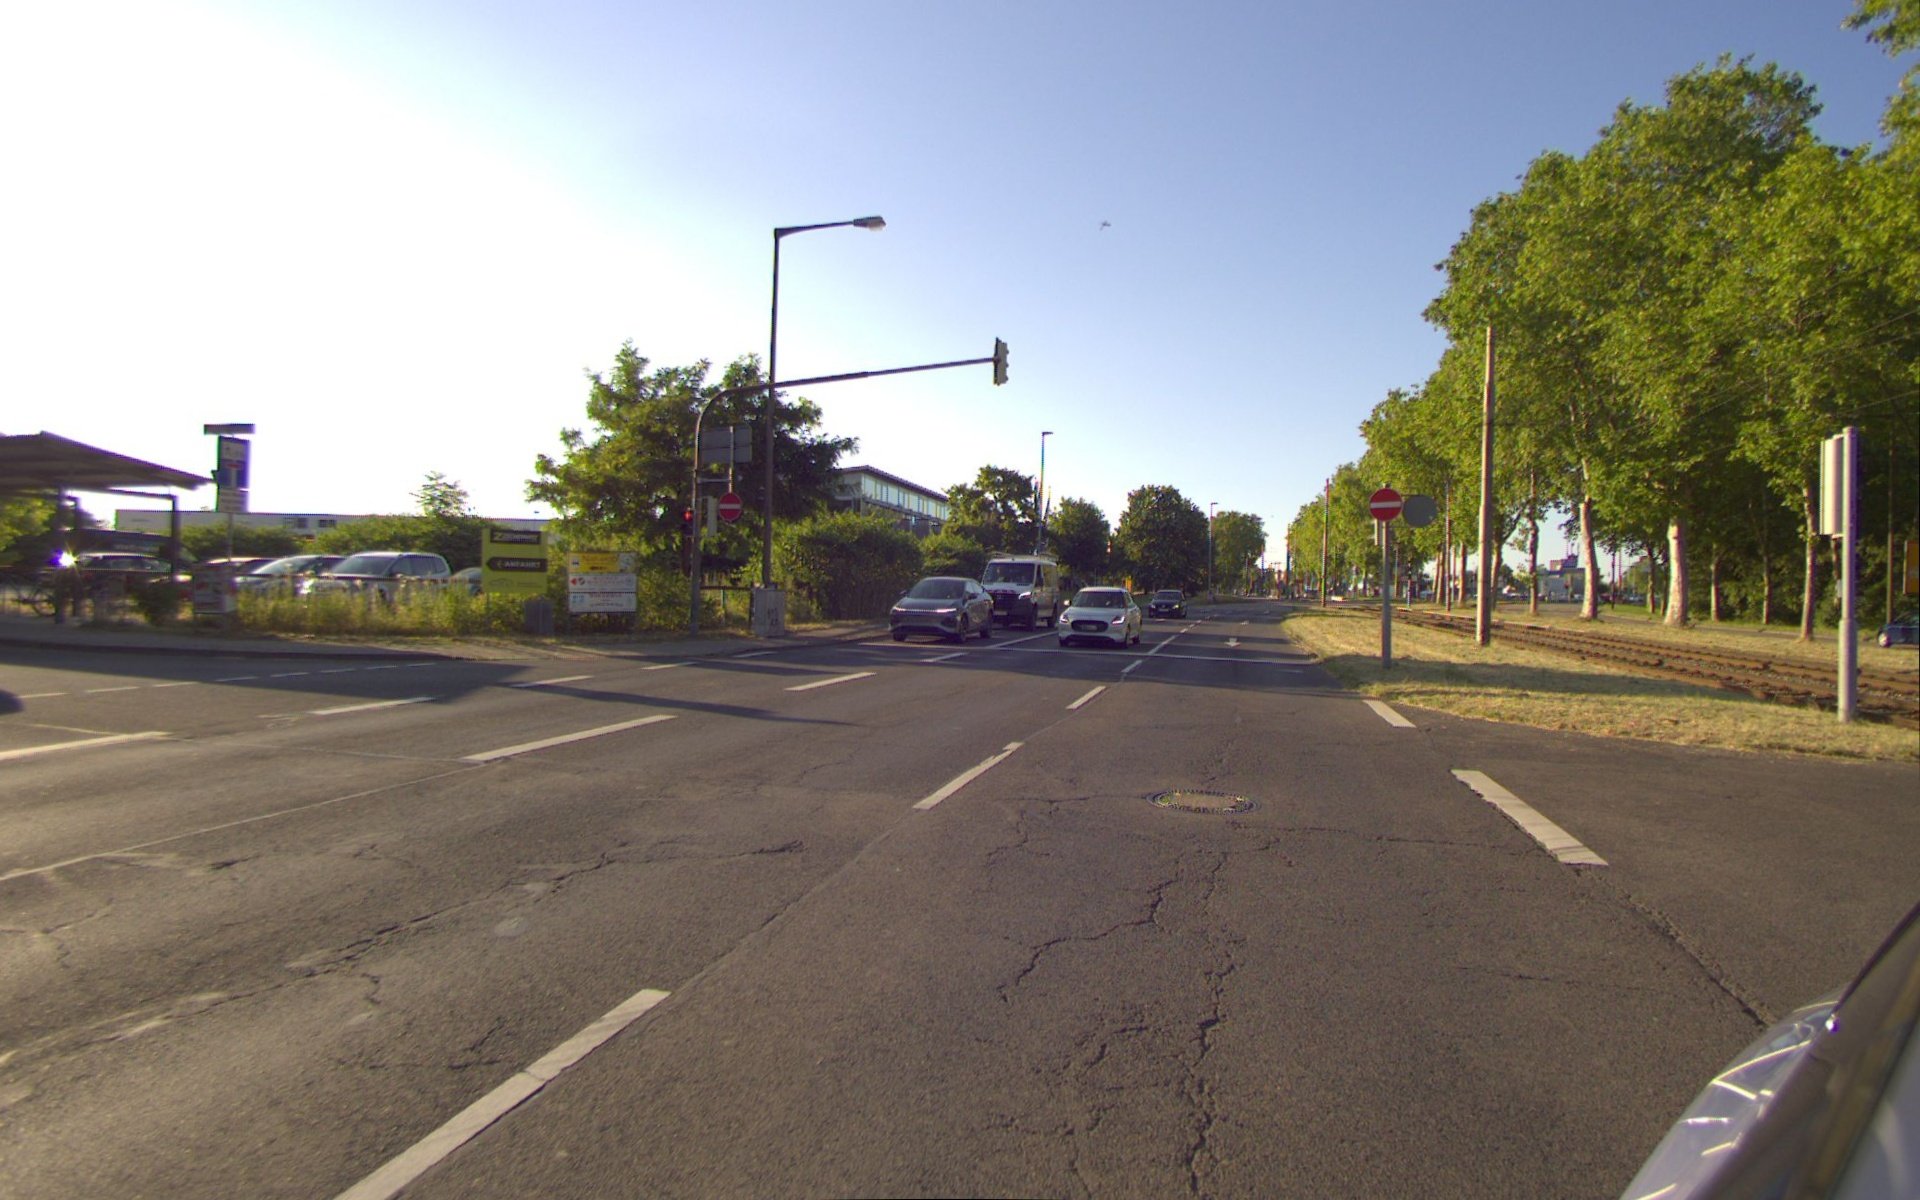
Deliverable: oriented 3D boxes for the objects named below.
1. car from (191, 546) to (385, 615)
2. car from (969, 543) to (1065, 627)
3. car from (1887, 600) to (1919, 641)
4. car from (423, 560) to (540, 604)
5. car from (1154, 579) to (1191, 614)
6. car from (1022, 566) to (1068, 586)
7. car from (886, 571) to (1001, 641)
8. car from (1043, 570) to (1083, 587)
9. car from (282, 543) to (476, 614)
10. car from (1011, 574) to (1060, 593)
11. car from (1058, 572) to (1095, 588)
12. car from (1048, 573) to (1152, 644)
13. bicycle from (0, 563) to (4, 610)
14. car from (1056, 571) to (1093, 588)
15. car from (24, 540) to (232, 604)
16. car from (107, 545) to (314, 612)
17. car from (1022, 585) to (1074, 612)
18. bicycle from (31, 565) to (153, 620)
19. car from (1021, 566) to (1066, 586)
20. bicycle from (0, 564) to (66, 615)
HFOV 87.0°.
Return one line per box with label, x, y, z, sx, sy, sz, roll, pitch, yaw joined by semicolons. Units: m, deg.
car;-18.054;-0.515;27.424;2.090;1.669;3.981;2;1;15
car;2.083;-0.495;35.024;1.982;2.598;5.845;2;1;16
car;35.292;0.774;36.118;1.607;1.460;3.965;2;1;16
car;-19.749;-0.711;41.921;2.099;1.657;3.965;2;1;25
car;10.996;-0.208;52.395;1.786;1.705;3.986;2;1;12
car;7.371;-2.088;87.609;3.725;1.586;1.760;2;0;-2
car;-0.326;0.119;26.952;1.850;1.638;4.526;2;1;15
car;10.331;-2.160;102.070;3.725;1.586;1.760;2;0;-2
car;-15.222;-0.548;26.793;2.090;1.669;4.208;2;1;15
car;6.017;-1.323;80.960;3.725;1.406;1.760;2;0;-2
car;12.729;-2.179;110.661;3.725;1.586;1.760;2;0;-2
car;3.699;0.182;26.090;1.853;1.638;3.974;2;1;20
bicycle;-22.045;-0.313;21.949;0.537;1.051;1.883;2;1;17
car;12.198;-2.164;107.920;3.725;1.586;1.760;2;0;-2
car;-24.221;-0.778;29.674;2.090;1.669;4.300;2;1;15
car;-20.891;-0.576;28.443;2.090;1.669;4.300;2;1;15
car;6.749;-0.144;77.691;3.725;1.883;1.760;2;0;-2
bicycle;-17.500;-0.161;20.460;0.537;1.051;1.883;2;1;17
car;7.421;-2.113;89.735;3.725;1.586;1.760;2;0;-2
bicycle;-20.084;-0.234;21.299;0.537;1.051;1.883;2;1;17
